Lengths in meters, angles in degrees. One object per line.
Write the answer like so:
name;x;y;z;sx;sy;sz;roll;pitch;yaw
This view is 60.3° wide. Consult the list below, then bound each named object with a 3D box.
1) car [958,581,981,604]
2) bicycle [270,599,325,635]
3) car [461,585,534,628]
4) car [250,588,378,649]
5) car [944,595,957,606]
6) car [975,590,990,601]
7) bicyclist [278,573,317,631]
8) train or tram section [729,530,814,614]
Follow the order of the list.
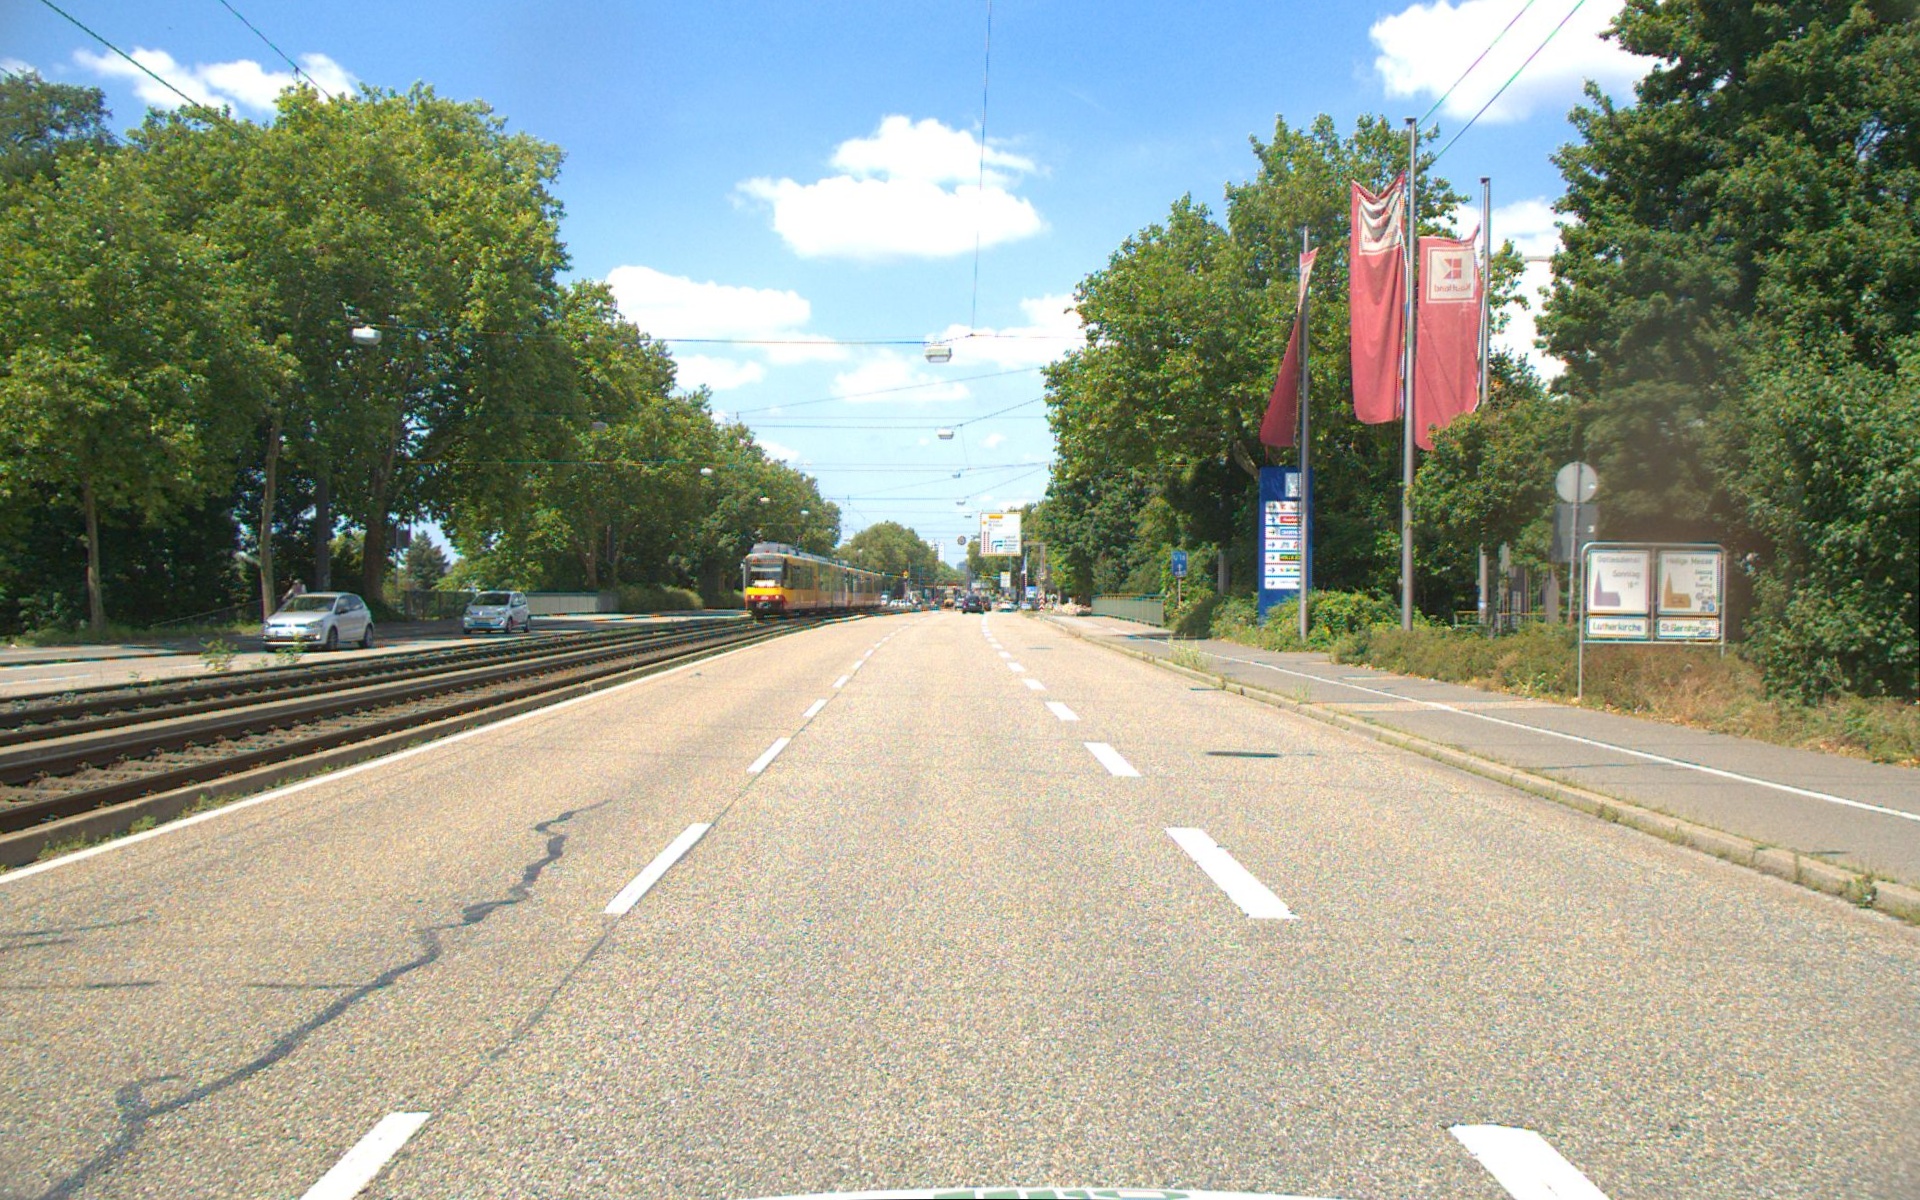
car;0.828;-0.644;143.847;1.861;1.837;3.975;2;0;-1
bicycle;-19.447;0.493;48.574;0.609;0.996;2.056;2;0;5
car;-16.364;0.220;58.623;1.603;1.461;3.720;-1;0;-2
car;-16.260;0.420;41.833;1.603;1.446;4.127;-1;0;0
car;-1.411;0.110;243.590;1.805;1.577;3.776;2;0;-1
car;3.190;-0.627;234.520;1.838;1.566;3.776;2;0;-1
bicyclist;-19.435;0.059;48.532;0.609;1.645;1.062;2;0;5
train or tram section;-10.434;-1.488;93.421;2.986;4.342;15.423;0;0;0
